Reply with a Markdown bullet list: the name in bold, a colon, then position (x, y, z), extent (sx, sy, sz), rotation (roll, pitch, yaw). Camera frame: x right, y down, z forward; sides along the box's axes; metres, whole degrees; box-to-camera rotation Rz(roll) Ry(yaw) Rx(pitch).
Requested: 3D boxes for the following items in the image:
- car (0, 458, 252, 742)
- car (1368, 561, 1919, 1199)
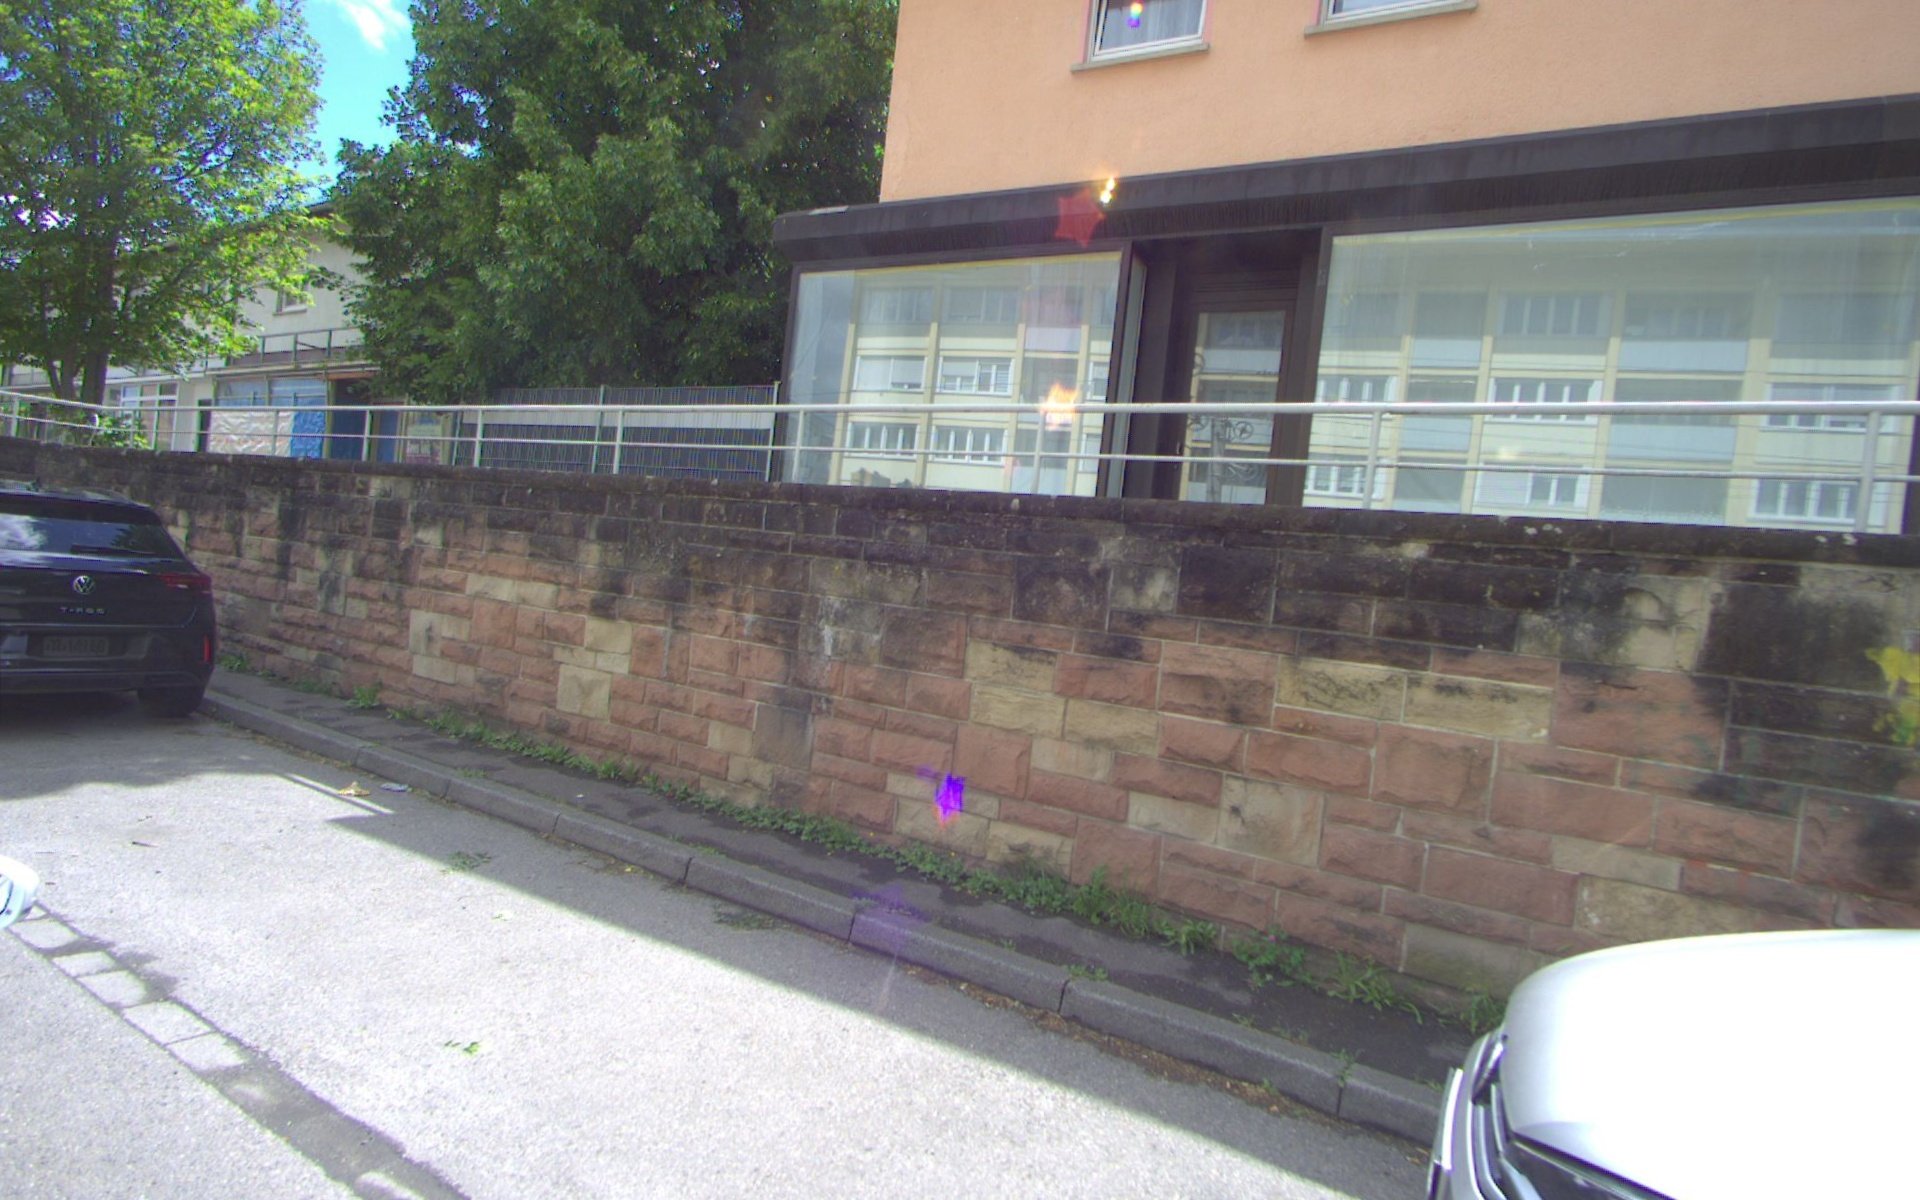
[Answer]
- **car**: position (-7.068, -0.160, 7.190), extent (3.934, 1.660, 1.852), rotation (7, 1, 32)
- **car**: position (2.824, 1.014, 1.146), extent (4.177, 1.638, 1.792), rotation (7, 1, 31)
